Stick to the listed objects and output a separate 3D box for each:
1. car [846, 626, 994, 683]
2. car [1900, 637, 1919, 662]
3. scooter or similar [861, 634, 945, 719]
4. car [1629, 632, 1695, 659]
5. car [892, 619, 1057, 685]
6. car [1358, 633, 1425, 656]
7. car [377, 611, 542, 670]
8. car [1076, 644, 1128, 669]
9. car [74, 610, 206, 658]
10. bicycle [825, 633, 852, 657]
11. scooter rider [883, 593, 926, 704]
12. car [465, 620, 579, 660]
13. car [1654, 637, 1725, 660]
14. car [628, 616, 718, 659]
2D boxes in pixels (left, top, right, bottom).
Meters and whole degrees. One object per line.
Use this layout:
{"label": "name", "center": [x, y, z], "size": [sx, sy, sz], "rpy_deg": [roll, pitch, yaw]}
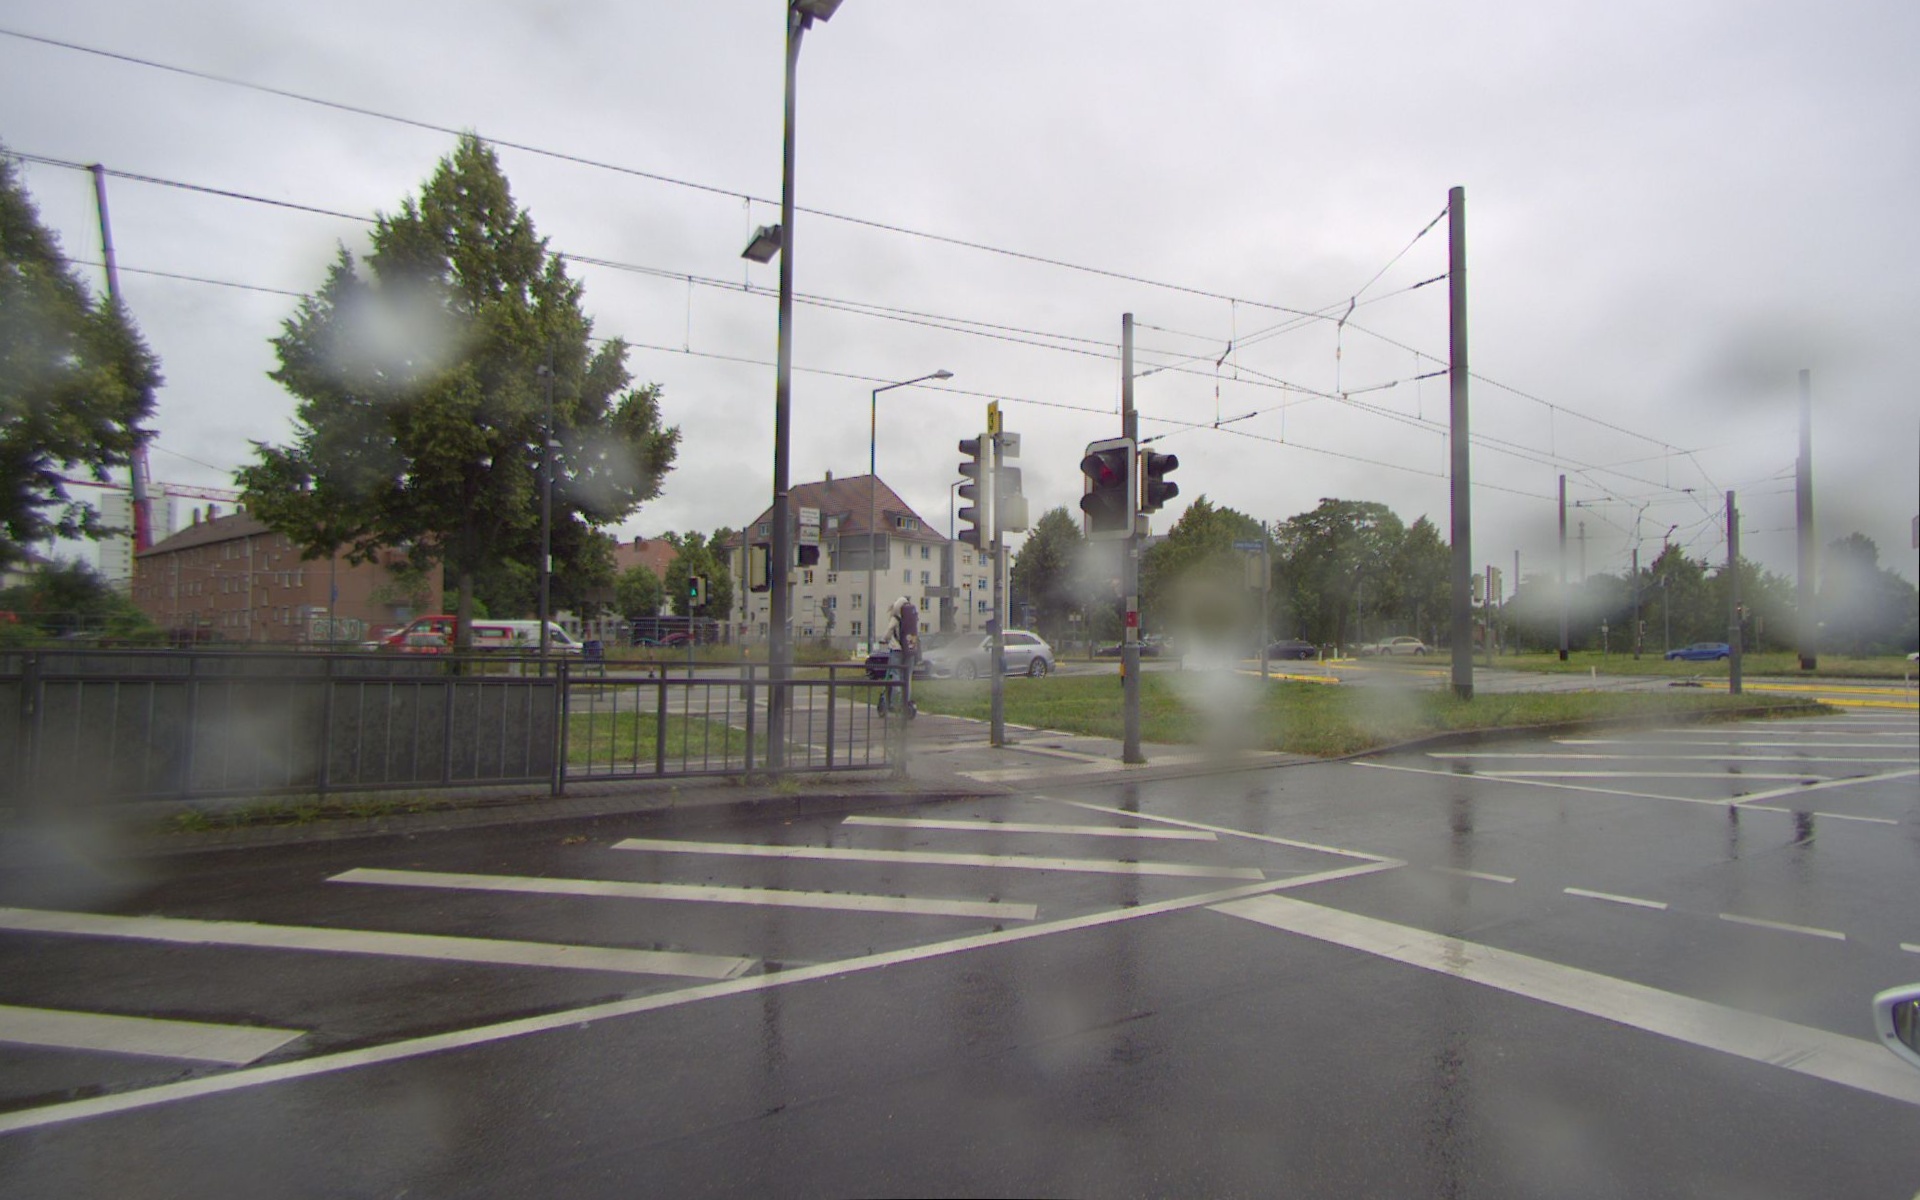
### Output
{"label": "car", "center": [-1.179, 1.655, 31.204], "size": [4.371, 1.649, 1.975], "rpy_deg": [2, -2, -42]}
{"label": "car", "center": [57.878, 2.922, 58.761], "size": [1.604, 1.473, 3.956], "rpy_deg": [1, -2, -30]}
{"label": "scooter or similar", "center": [-0.919, 1.191, 15.937], "size": [0.444, 1.275, 1.571], "rpy_deg": [2, -3, -42]}
{"label": "car", "center": [54.394, 3.516, 77.884], "size": [3.921, 1.840, 1.681], "rpy_deg": [2, 0, -1]}
{"label": "car", "center": [0.447, 1.374, 27.449], "size": [4.371, 1.649, 1.975], "rpy_deg": [2, -2, -42]}
{"label": "car", "center": [28.509, 2.911, 66.404], "size": [4.047, 1.473, 1.618], "rpy_deg": [1, -2, -17]}
{"label": "car", "center": [-22.227, 1.811, 44.888], "size": [6.389, 2.502, 1.616], "rpy_deg": [1, -2, -20]}
{"label": "car", "center": [10.052, 3.995, 71.043], "size": [3.414, 1.563, 1.622], "rpy_deg": [2, 0, 1]}
{"label": "car", "center": [-45.368, 1.906, 55.759], "size": [5.441, 2.485, 1.980], "rpy_deg": [3, 0, -36]}
{"label": "bicycle", "center": [-10.841, 4.023, 89.435], "size": [2.226, 2.040, 0.508], "rpy_deg": [2, 0, 9]}
{"label": "scooter rider", "center": [-0.875, 0.773, 15.918], "size": [0.431, 1.731, 0.526], "rpy_deg": [2, -4, -43]}
{"label": "car", "center": [-25.891, 2.345, 59.630], "size": [6.004, 2.308, 1.617], "rpy_deg": [1, -2, -18]}
{"label": "car", "center": [50.049, 3.299, 68.962], "size": [3.925, 1.473, 1.617], "rpy_deg": [-1, -2, 38]}
{"label": "car", "center": [-27.664, 3.528, 96.471], "size": [10.793, 3.770, 2.447], "rpy_deg": [0, -2, 39]}
